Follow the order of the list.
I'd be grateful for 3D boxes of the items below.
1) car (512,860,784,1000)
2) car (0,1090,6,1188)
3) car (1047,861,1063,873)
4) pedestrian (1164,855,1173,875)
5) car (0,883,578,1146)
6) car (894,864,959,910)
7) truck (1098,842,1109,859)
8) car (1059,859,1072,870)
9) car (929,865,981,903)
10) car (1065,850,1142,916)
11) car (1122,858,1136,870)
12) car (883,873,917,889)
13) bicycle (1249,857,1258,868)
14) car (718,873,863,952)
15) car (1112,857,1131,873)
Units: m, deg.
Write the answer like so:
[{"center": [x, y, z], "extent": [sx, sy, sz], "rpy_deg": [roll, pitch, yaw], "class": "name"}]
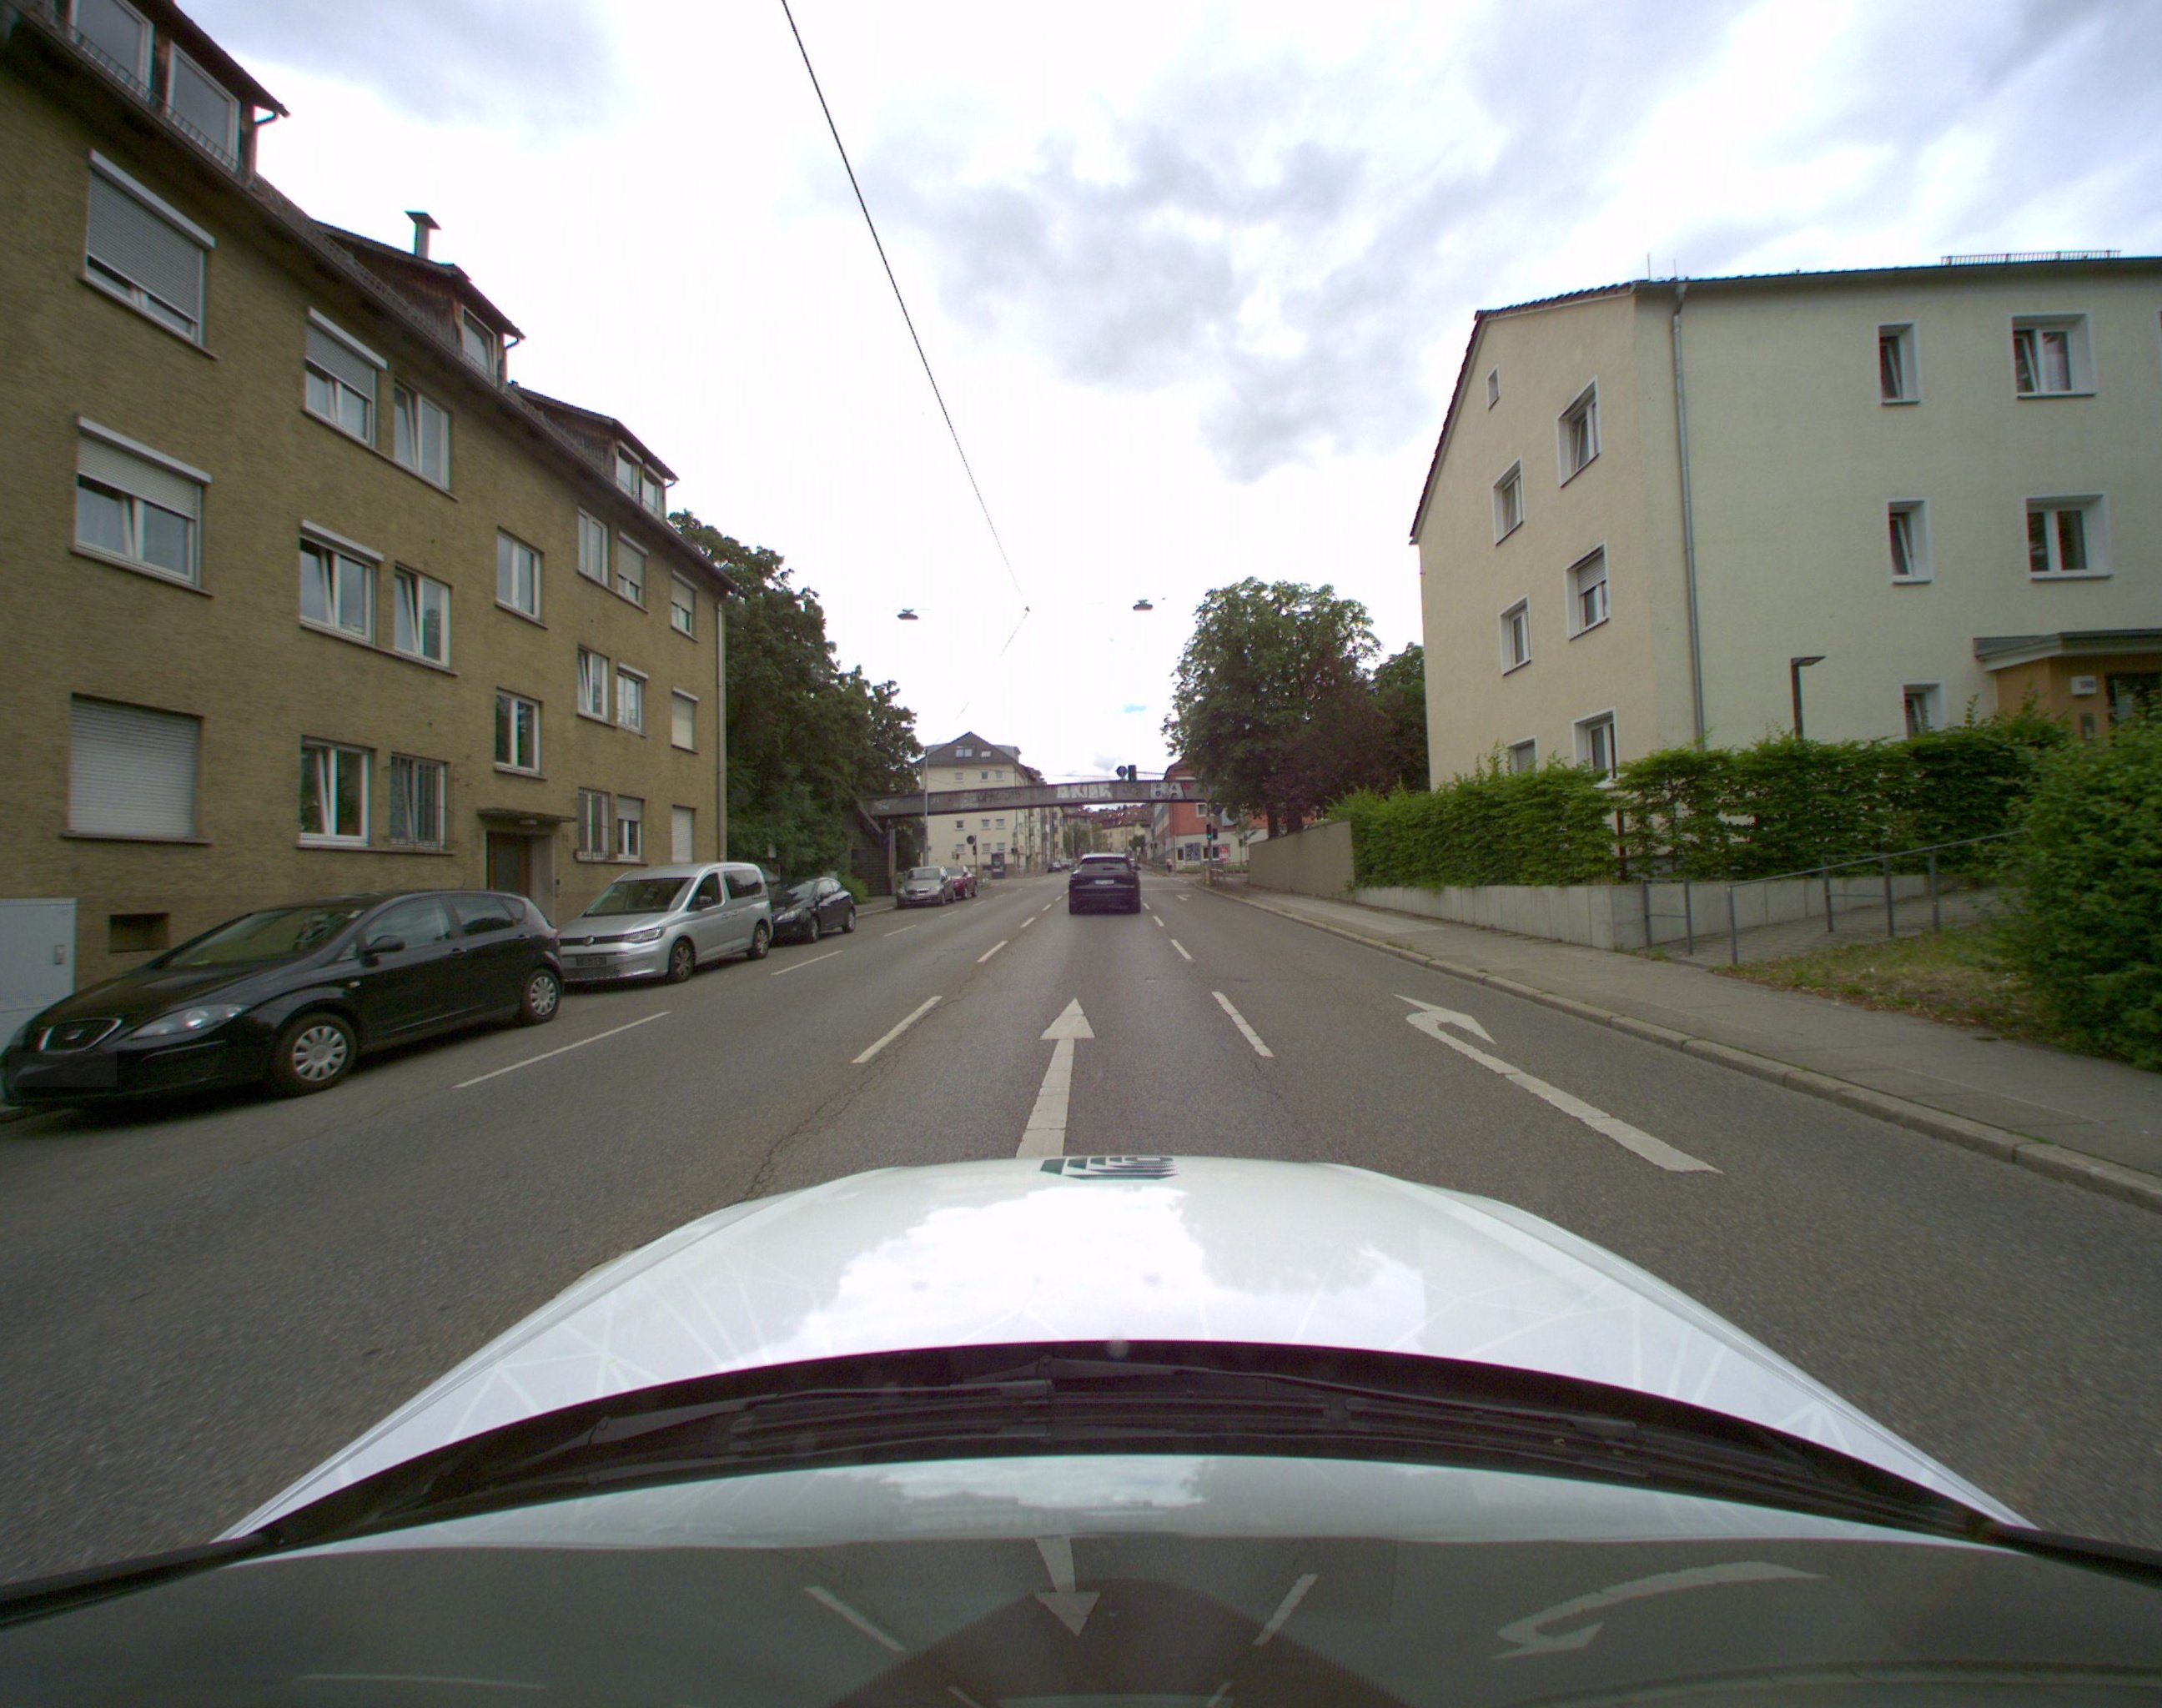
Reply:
[{"center": [-6.634, 1.031, 13.197], "extent": [1.770, 1.754, 4.559], "rpy_deg": [-3, 0, 2], "class": "car"}, {"center": [-6.981, 1.096, 2.394], "extent": [1.775, 1.609, 4.268], "rpy_deg": [-4, 0, 3], "class": "car"}, {"center": [-3.478, 1.679, 109.950], "extent": [1.758, 1.508, 4.003], "rpy_deg": [-2, 0, 3], "class": "car"}, {"center": [7.975, 1.000, 74.034], "extent": [0.650, 1.792, 0.714], "rpy_deg": [-2, -1, -1], "class": "pedestrian"}, {"center": [-6.777, 1.147, 7.427], "extent": [1.746, 1.530, 4.098], "rpy_deg": [-3, 0, 0], "class": "car"}, {"center": [-6.059, 1.256, 32.308], "extent": [1.740, 1.568, 3.907], "rpy_deg": [-4, 0, 0], "class": "car"}, {"center": [4.868, -0.697, 173.788], "extent": [2.258, 3.424, 9.881], "rpy_deg": [-2, 0, 2], "class": "truck"}, {"center": [-2.428, 1.589, 126.551], "extent": [1.758, 1.650, 4.003], "rpy_deg": [-2, 0, 3], "class": "car"}, {"center": [-5.688, 1.326, 37.218], "extent": [1.528, 1.540, 3.984], "rpy_deg": [-4, 0, 2], "class": "car"}, {"center": [0.683, 0.758, 23.550], "extent": [1.986, 1.662, 4.002], "rpy_deg": [-1, 0, 2], "class": "car"}, {"center": [6.259, 1.254, 106.477], "extent": [1.734, 1.400, 4.002], "rpy_deg": [-1, 0, 2], "class": "car"}, {"center": [-19.111, 2.832, 85.829], "extent": [1.817, 1.510, 3.952], "rpy_deg": [-2, -1, -41], "class": "car"}, {"center": [14.675, 0.749, 69.305], "extent": [0.337, 0.903, 1.754], "rpy_deg": [-2, -1, 25], "class": "bicycle"}, {"center": [-6.467, 1.240, 18.615], "extent": [1.739, 1.439, 3.914], "rpy_deg": [-4, 0, 2], "class": "car"}, {"center": [3.820, 1.037, 77.522], "extent": [1.734, 1.400, 4.002], "rpy_deg": [-1, 0, 2], "class": "car"}]
